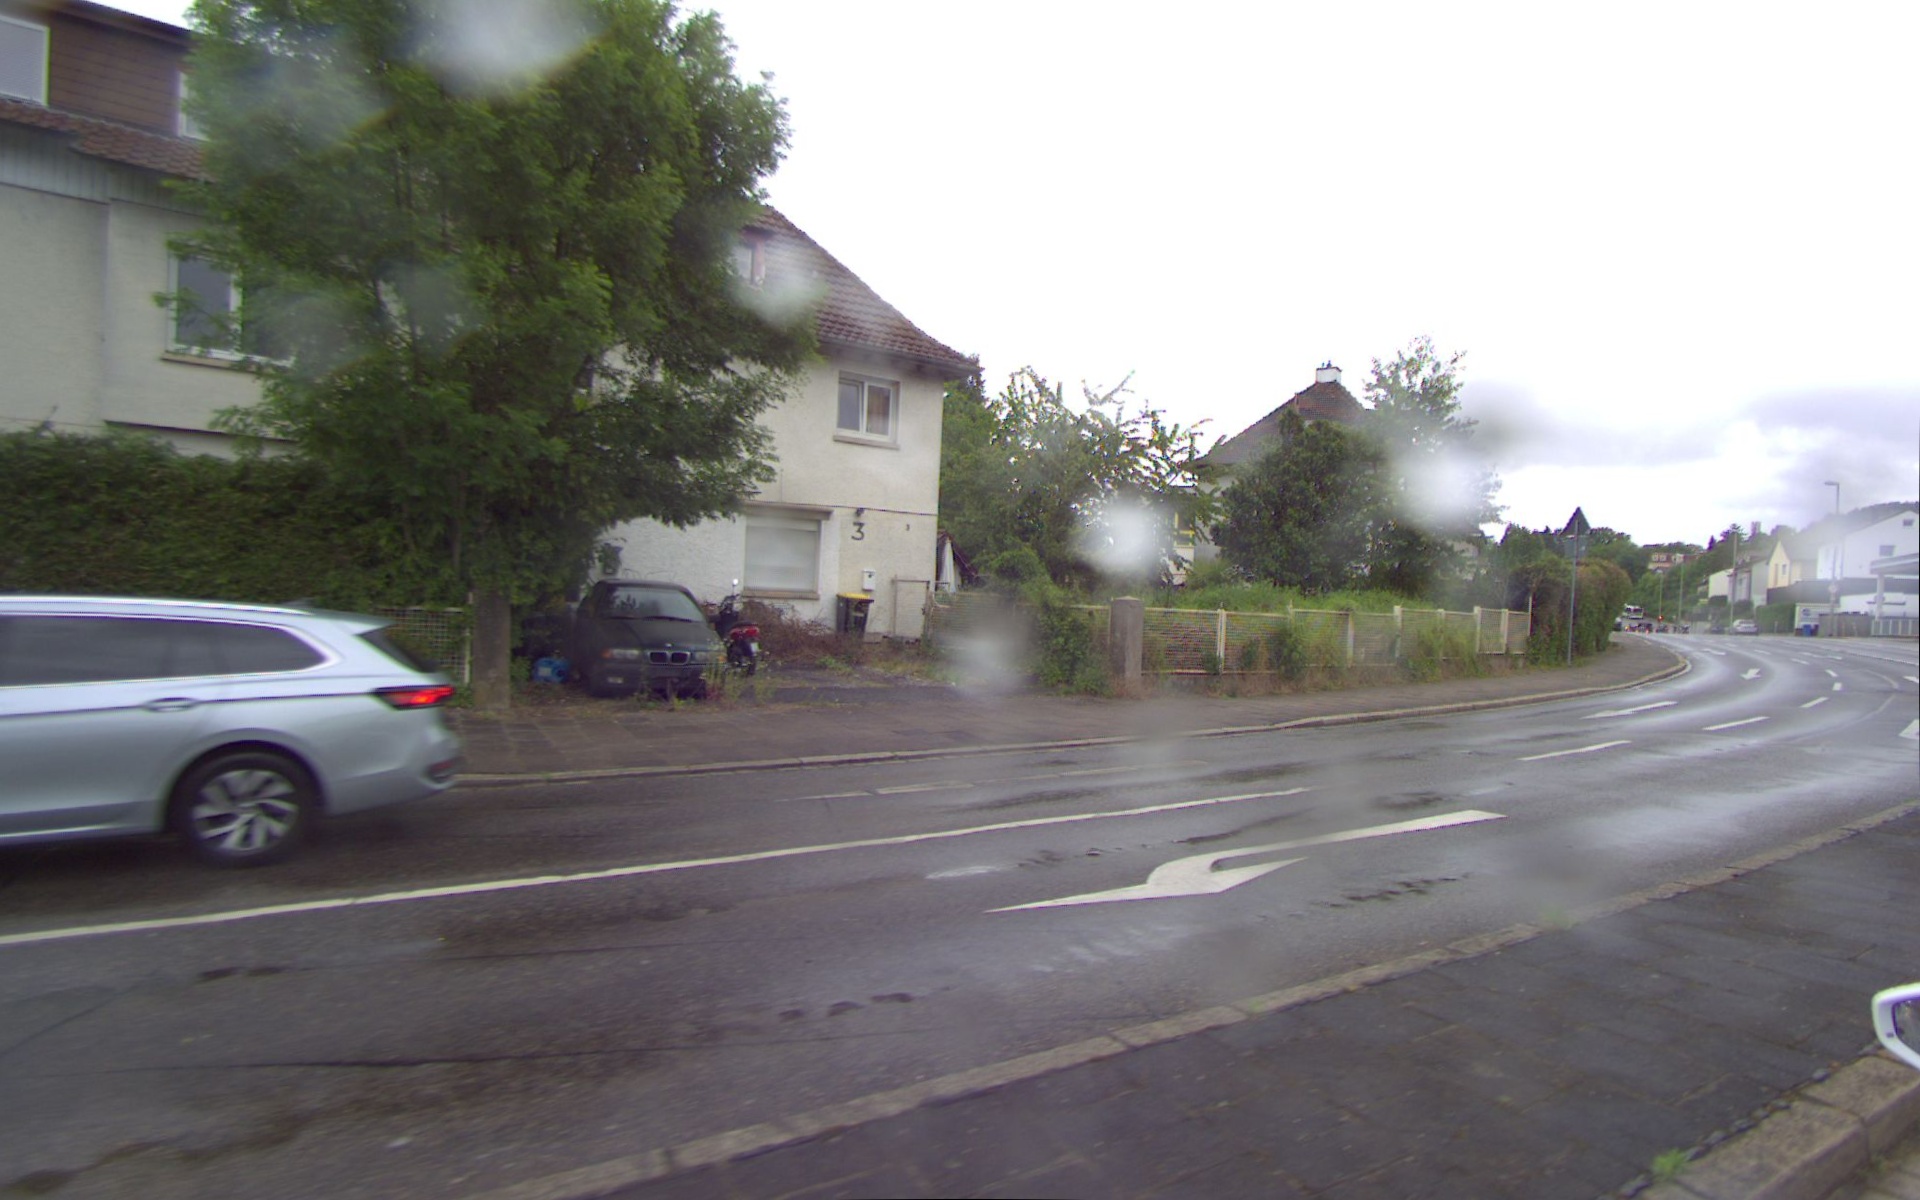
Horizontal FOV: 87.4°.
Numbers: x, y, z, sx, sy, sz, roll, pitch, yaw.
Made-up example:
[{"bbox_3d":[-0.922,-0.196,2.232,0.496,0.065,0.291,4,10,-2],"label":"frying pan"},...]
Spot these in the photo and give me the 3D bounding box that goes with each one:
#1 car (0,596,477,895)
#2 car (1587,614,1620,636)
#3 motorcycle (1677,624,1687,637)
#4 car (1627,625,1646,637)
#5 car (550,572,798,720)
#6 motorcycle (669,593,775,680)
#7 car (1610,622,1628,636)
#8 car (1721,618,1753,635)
[{"bbox_3d":[-5.369,0.727,5.650,4.635,1.469,1.667,3,-1,-31],"label":"car"},{"bbox_3d":[46.467,1.846,72.557,1.724,1.458,4.122,2,-1,30],"label":"car"},{"bbox_3d":[90.796,3.823,126.296,0.693,1.529,2.147,-1,-2,29],"label":"motorcycle"},{"bbox_3d":[105.867,4.909,157.329,1.963,1.763,3.995,2,-1,27],"label":"car"},{"bbox_3d":[-3.935,0.495,13.357,1.914,1.413,3.959,2,4,-36],"label":"car"},{"bbox_3d":[-3.751,0.535,15.684,0.721,1.104,2.184,2,4,-38],"label":"motorcycle"},{"bbox_3d":[93.145,4.086,141.986,1.966,1.763,3.990,2,-1,33],"label":"car"},{"bbox_3d":[73.797,2.525,95.493,1.675,1.530,4.528,2,-1,29],"label":"car"}]
